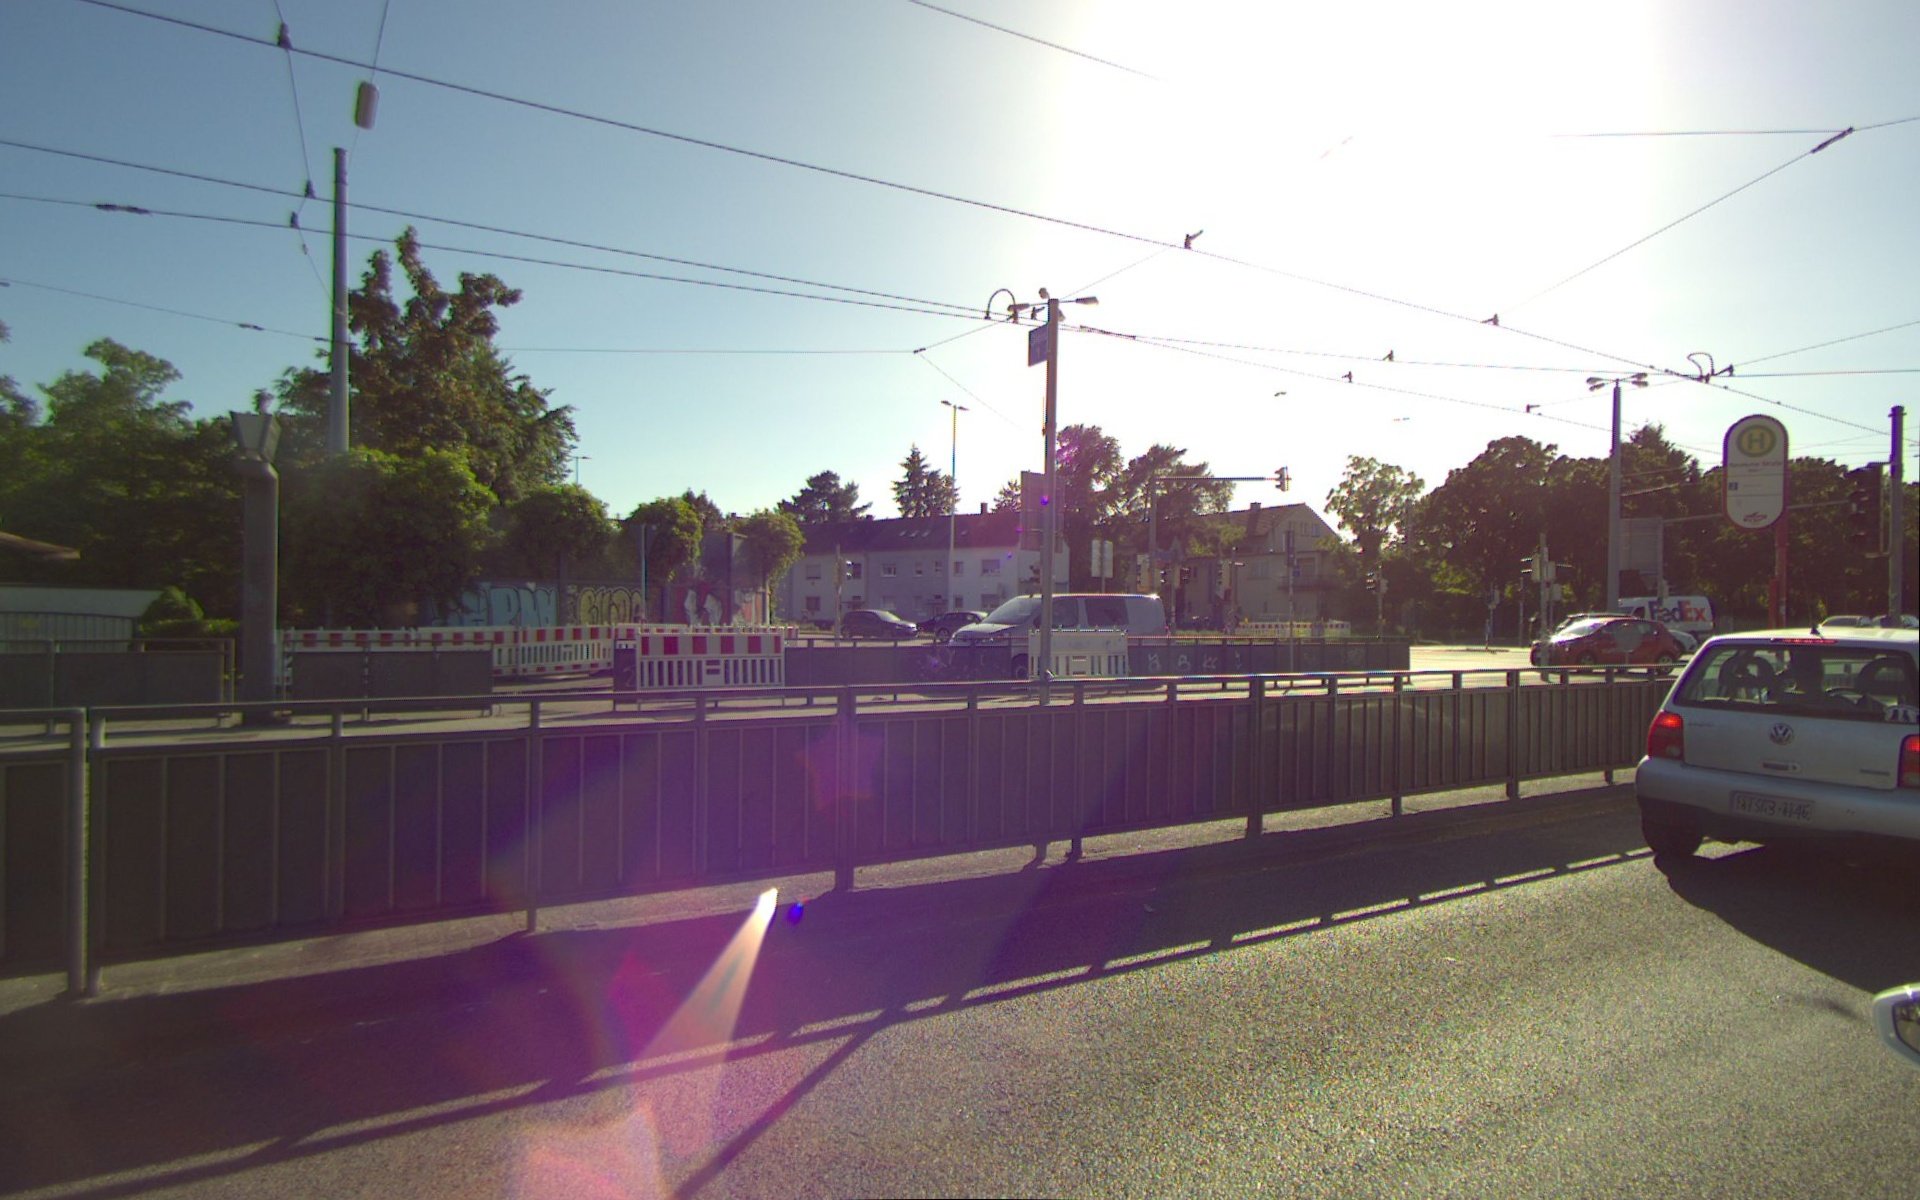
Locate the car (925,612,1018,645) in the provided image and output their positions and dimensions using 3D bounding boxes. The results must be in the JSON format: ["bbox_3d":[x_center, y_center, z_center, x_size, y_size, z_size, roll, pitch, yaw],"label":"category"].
[{"bbox_3d":[0.503,1.273,45.942,4.104,1.451,1.589,0,-1,34],"label":"car"}]

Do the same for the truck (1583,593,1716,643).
[{"bbox_3d":[37.113,0.996,54.069,6.707,2.599,1.994,1,-1,-14],"label":"truck"}]

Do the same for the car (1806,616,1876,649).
[{"bbox_3d":[43.111,1.568,49.128,3.963,1.568,1.819,1,-1,-37],"label":"car"}]

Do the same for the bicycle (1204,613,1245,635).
[{"bbox_3d":[16.188,1.446,61.535,2.370,1.279,0.813,0,-1,43],"label":"bicycle"}]

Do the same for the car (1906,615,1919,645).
[{"bbox_3d":[54.959,1.691,56.372,4.712,1.626,1.978,1,1,-38],"label":"car"}]

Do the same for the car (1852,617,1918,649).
[{"bbox_3d":[47.997,1.684,52.112,4.245,1.568,1.819,1,-1,-37],"label":"car"}]

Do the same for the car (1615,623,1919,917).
[{"bbox_3d":[5.842,0.889,6.325,3.312,1.436,1.611,2,-1,-31],"label":"car"}]

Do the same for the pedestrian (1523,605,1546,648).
[{"bbox_3d":[27.523,1.284,48.111,0.785,2.040,0.741,1,-1,-42],"label":"pedestrian"}]

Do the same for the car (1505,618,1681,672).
[{"bbox_3d":[17.193,1.209,27.360,3.942,1.421,1.607,1,-1,-7],"label":"car"}]

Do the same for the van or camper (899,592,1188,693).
[{"bbox_3d":[1.825,0.827,20.770,5.917,1.852,1.984,1,-1,-30],"label":"van or camper"}]

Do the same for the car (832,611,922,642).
[{"bbox_3d":[-4.086,1.285,49.267,4.212,1.451,1.788,0,-1,34],"label":"car"}]

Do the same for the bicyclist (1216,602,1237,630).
[{"bbox_3d":[16.296,0.979,61.483,0.995,1.669,0.813,0,0,42],"label":"bicyclist"}]

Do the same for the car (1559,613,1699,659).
[{"bbox_3d":[22.968,1.216,34.661,3.929,1.498,1.712,0,-1,31],"label":"car"}]
